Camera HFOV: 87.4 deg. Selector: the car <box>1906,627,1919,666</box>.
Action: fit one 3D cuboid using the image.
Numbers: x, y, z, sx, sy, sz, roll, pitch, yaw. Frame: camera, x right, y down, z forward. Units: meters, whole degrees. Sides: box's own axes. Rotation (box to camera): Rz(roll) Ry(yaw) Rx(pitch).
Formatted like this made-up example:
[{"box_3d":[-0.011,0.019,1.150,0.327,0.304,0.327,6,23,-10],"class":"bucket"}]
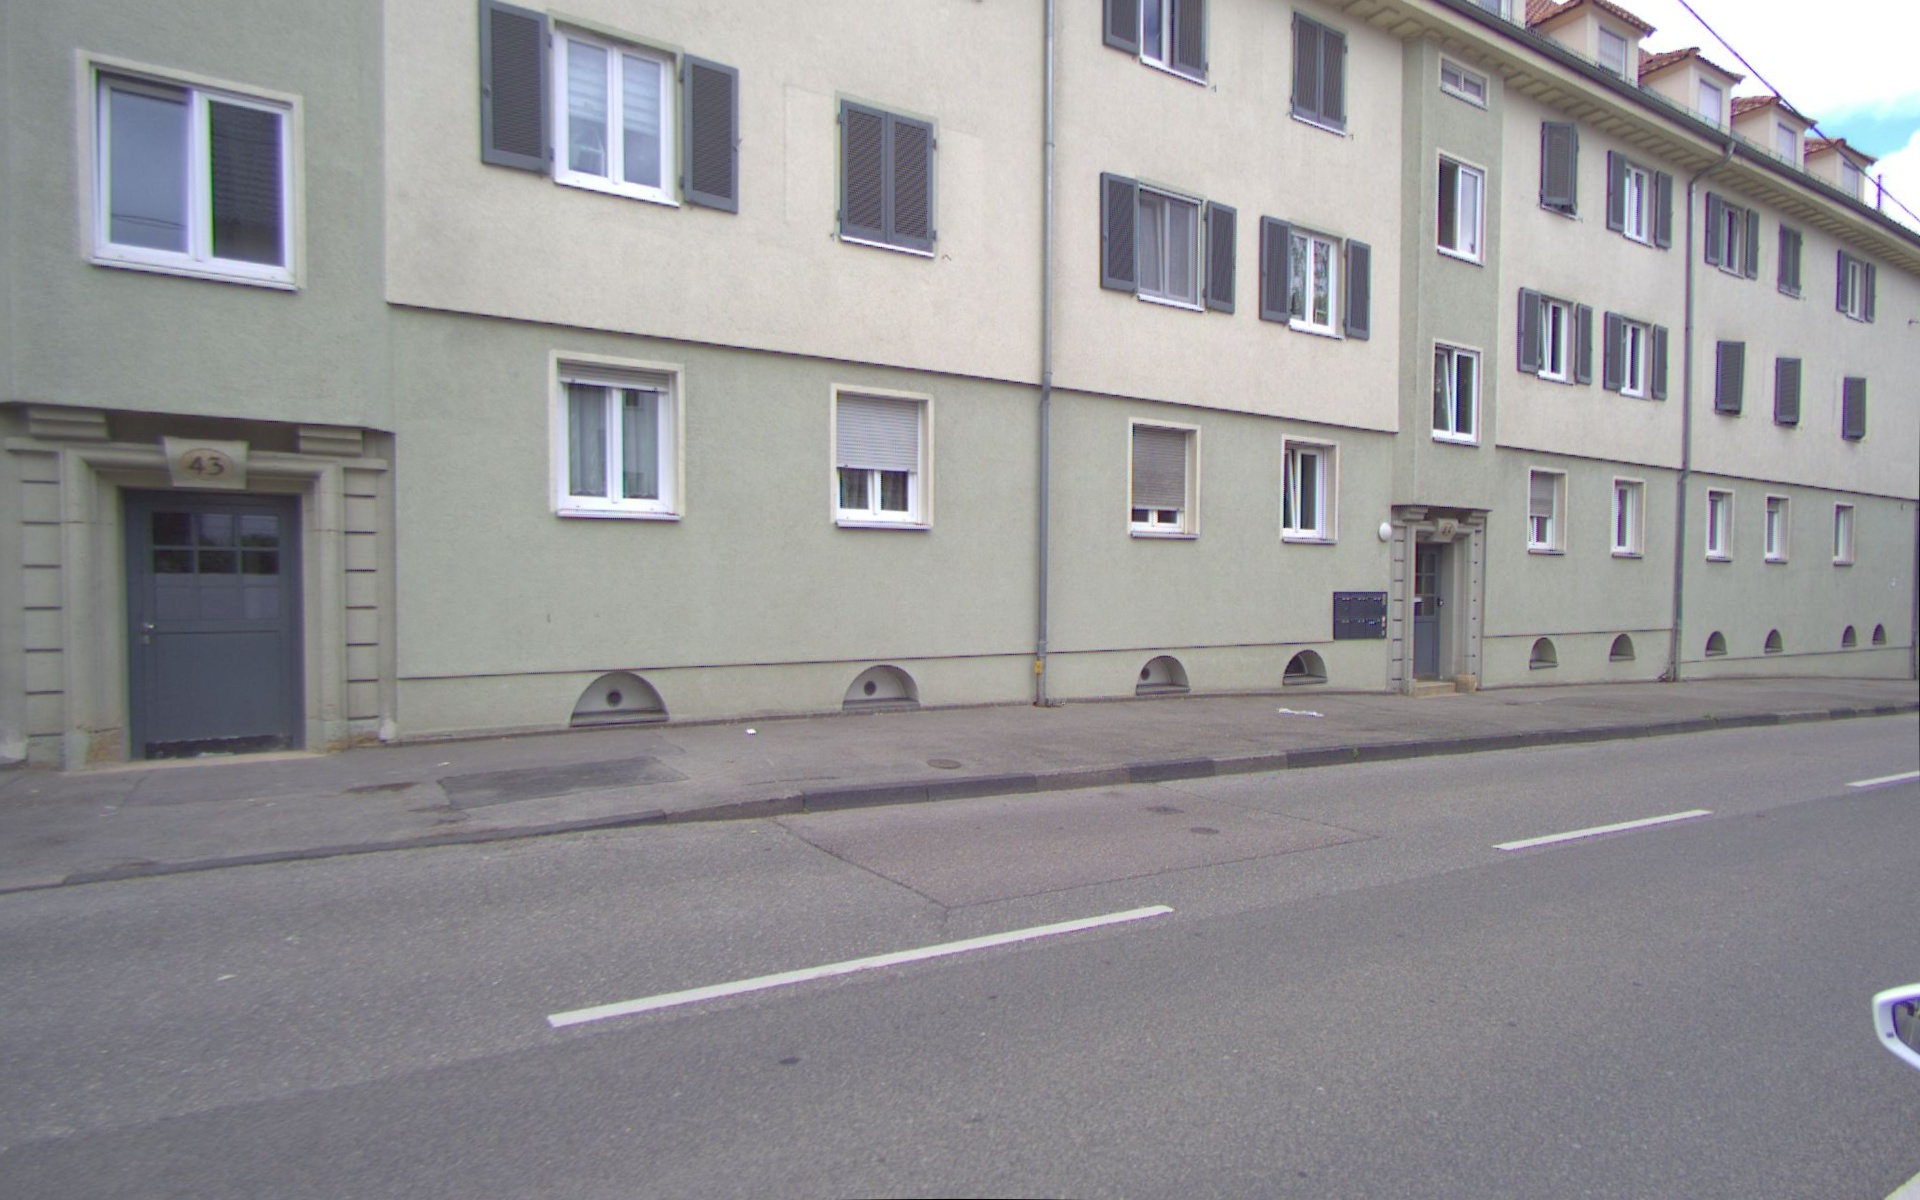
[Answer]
[{"box_3d":[42.345,2.029,43.450,1.701,1.626,3.959,2,0,39],"class":"car"}]
